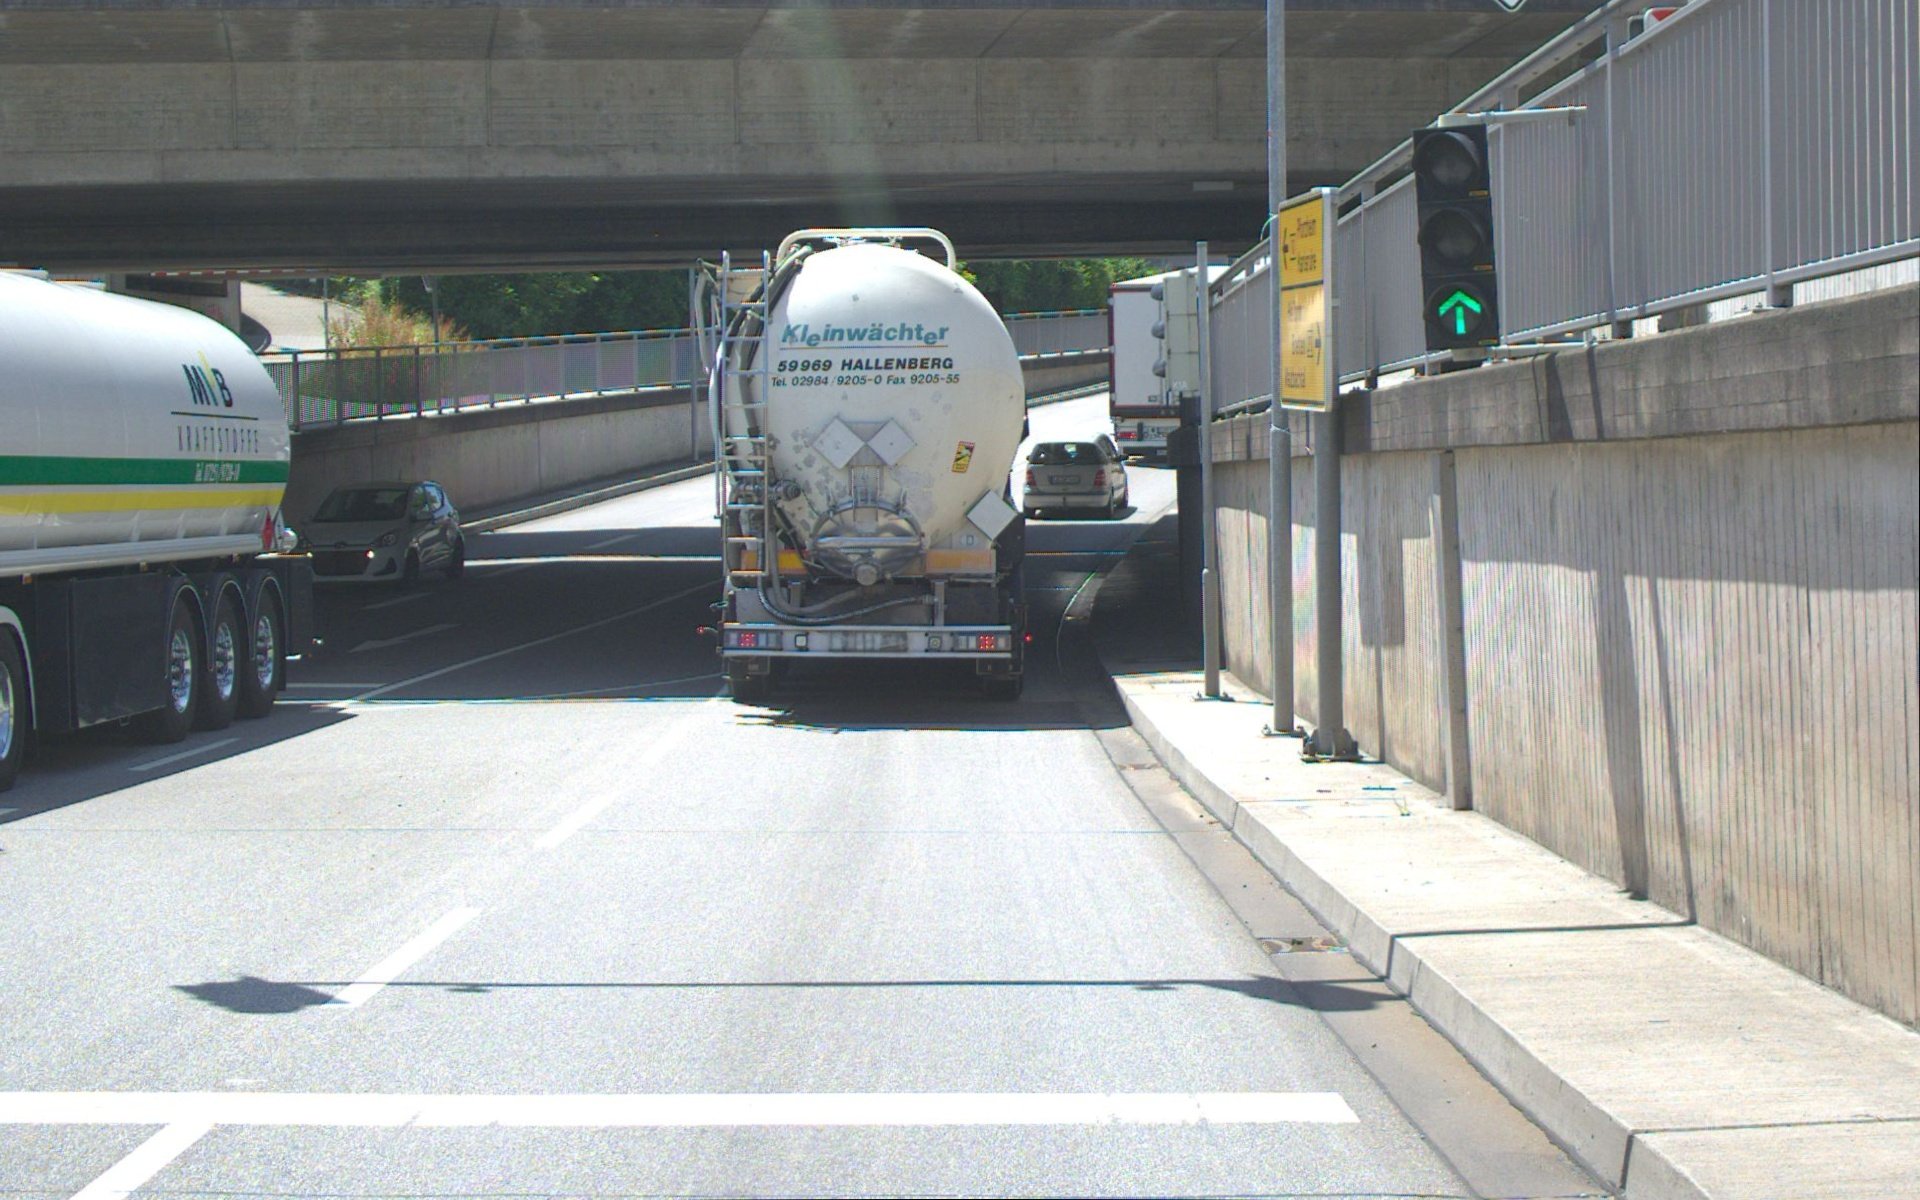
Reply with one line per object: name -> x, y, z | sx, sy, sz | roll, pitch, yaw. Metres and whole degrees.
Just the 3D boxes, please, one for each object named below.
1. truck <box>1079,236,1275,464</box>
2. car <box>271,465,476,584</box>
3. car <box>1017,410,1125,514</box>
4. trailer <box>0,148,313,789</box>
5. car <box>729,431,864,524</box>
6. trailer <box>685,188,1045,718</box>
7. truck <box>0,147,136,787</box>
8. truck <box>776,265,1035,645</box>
truck -> 5.210, -5.940, 80.439 | 3.082, 4.981, 10.080 | 1, 5, 12
car -> -8.272, -1.103, 48.774 | 1.780, 1.461, 3.832 | -2, 3, 7
car -> 2.107, -2.618, 64.402 | 1.882, 1.633, 4.001 | 0, 7, 4
trailer -> -6.772, -0.857, 23.574 | 2.689, 3.650, 9.889 | 0, 1, 1
car -> -2.946, -2.260, 62.673 | 1.743, 1.459, 3.825 | 1, 5, 8
trailer -> -0.647, -1.394, 33.090 | 2.735, 4.050, 13.314 | 0, 2, 1
truck -> -6.851, -0.743, 18.769 | 2.689, 3.650, 7.369 | 0, 1, 2
truck -> -0.544, -1.681, 40.077 | 2.735, 4.050, 6.530 | 0, 2, 1
